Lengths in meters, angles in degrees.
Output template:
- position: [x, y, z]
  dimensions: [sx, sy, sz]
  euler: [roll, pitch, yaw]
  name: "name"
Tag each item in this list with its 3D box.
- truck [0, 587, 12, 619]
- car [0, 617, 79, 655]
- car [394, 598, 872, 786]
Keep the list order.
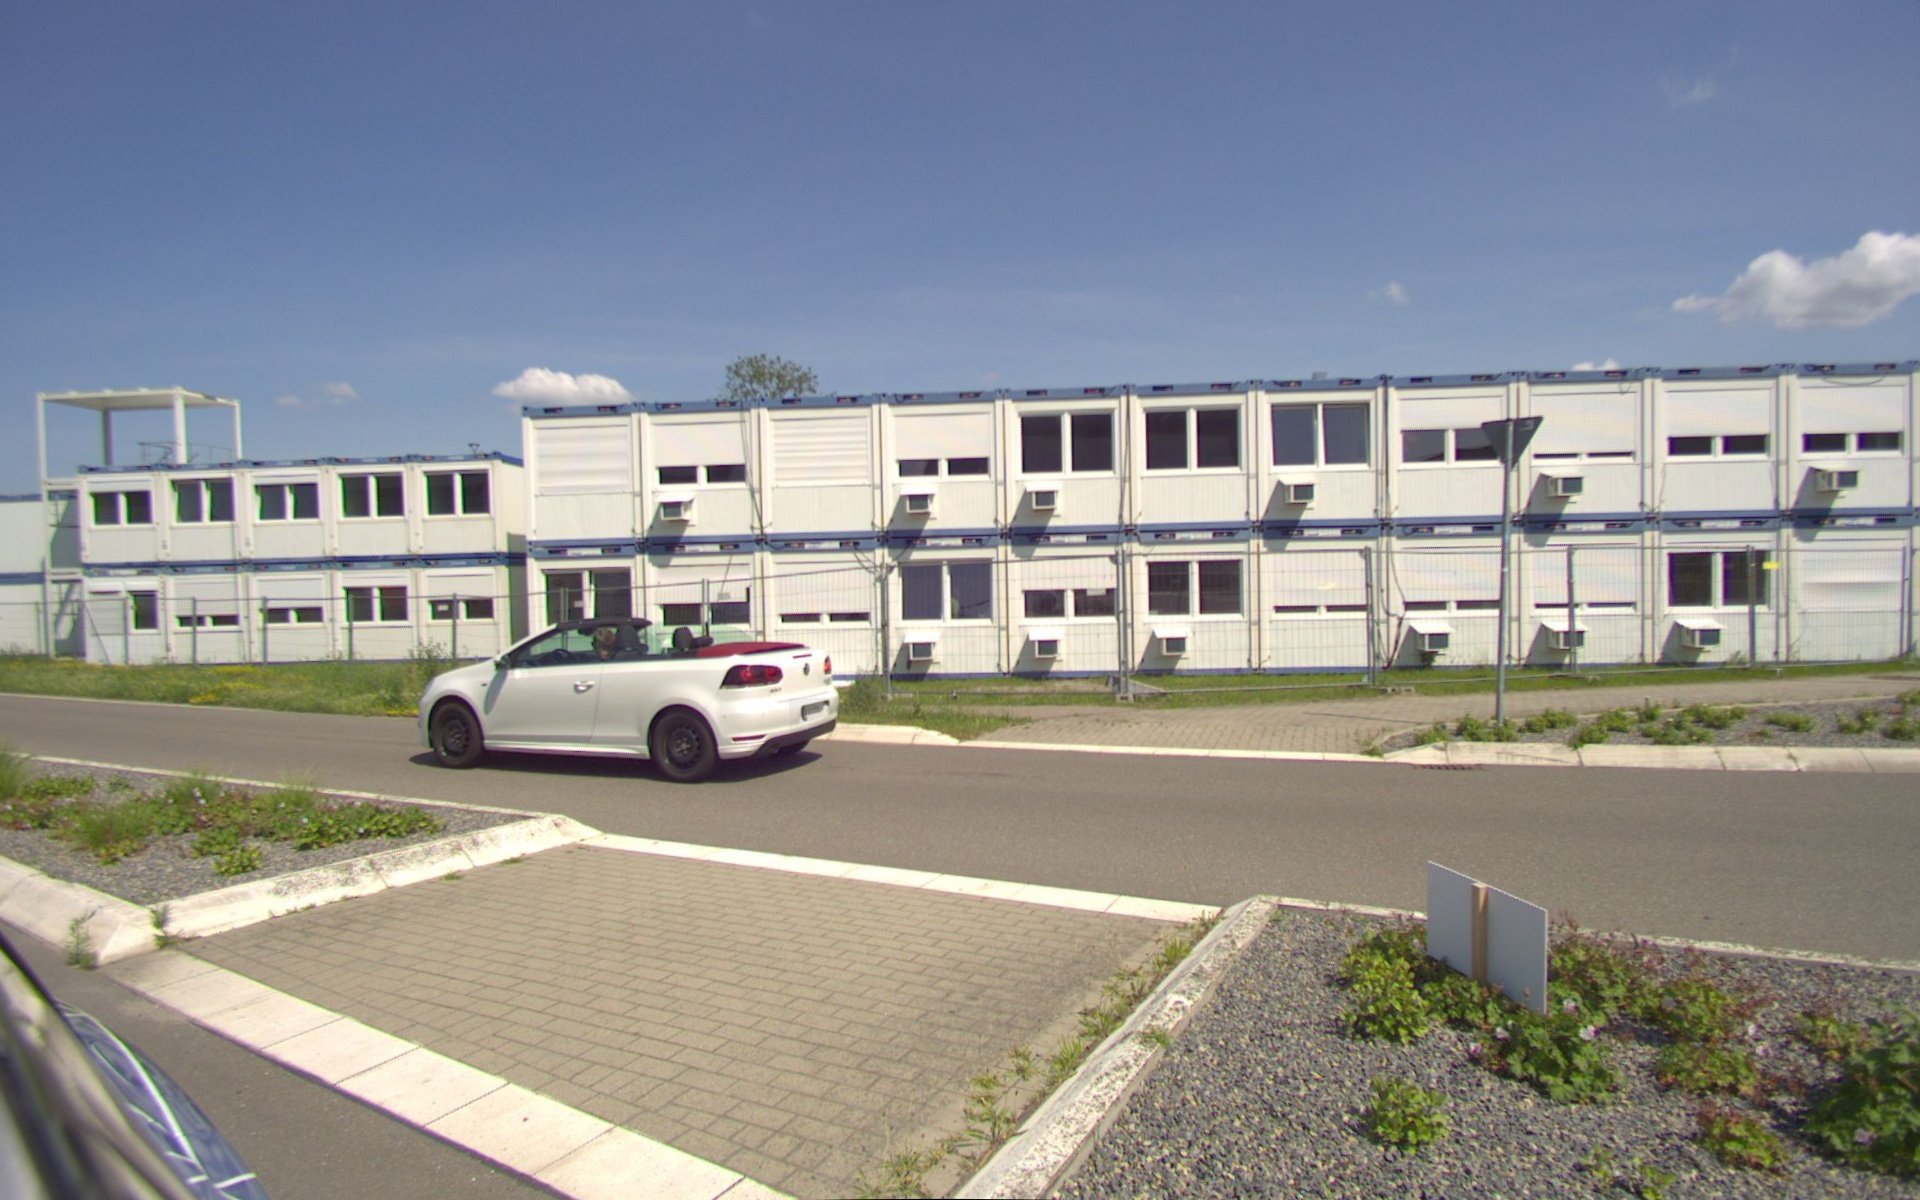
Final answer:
- position: [-116.013, 0.362, 121.256]
  dimensions: [10.599, 3.672, 3.066]
  euler: [0, 0, 45]
  name: "truck"
- position: [-39.164, 1.517, 40.961]
  dimensions: [1.987, 1.427, 4.947]
  euler: [-1, 1, 23]
  name: "car"
- position: [-3.031, 0.772, 9.438]
  dimensions: [4.023, 1.439, 1.763]
  euler: [-2, 0, 22]
  name: "car"
